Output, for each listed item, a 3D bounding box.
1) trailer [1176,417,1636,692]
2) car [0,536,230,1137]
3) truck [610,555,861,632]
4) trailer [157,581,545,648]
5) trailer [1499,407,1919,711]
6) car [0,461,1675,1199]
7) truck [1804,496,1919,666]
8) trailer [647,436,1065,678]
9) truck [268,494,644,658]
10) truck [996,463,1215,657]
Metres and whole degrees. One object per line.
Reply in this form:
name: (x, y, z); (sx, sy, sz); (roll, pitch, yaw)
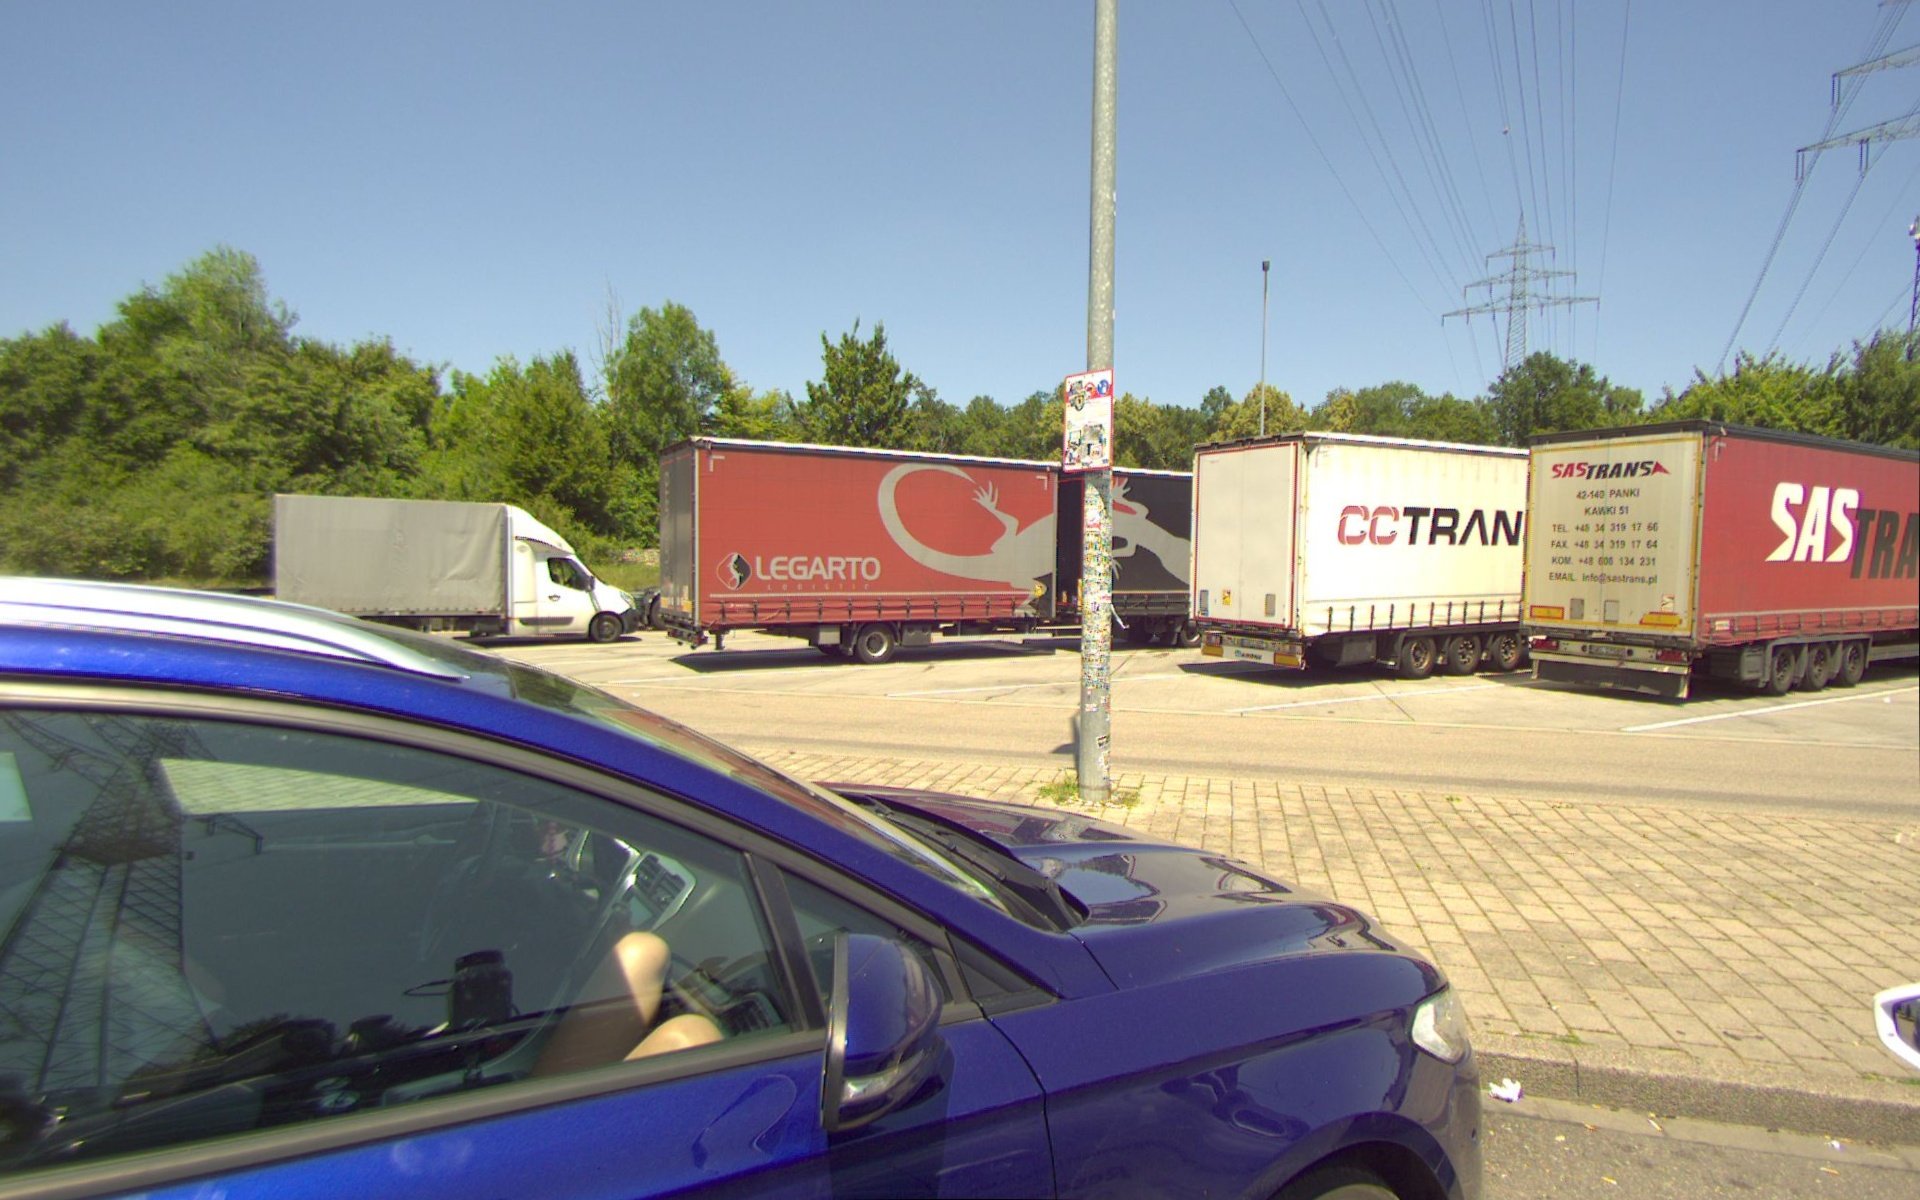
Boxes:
trailer: (8.871, -0.820, 19.322); (10.049, 4.267, 2.714); (-1, 3, -30)
car: (-4.549, 0.583, 2.249); (4.592, 1.554, 1.726); (0, 1, -33)
truck: (-6.477, -0.163, 29.521); (6.961, 2.040, 1.984); (0, 0, -30)
trailer: (-14.826, 0.259, 25.181); (7.996, 1.394, 2.211); (-1, 3, -30)
trailer: (15.410, -0.702, 18.557); (13.559, 4.189, 2.892); (-1, 3, -30)
car: (-0.976, 0.655, 1.465); (4.592, 1.502, 1.727); (0, 0, -33)
truck: (21.732, -0.430, 22.302); (5.418, 3.475, 2.838); (-1, 3, -30)
trailer: (-1.921, -0.830, 20.262); (7.996, 4.101, 2.696); (-1, 3, -30)
truck: (-11.198, -0.573, 22.898); (7.254, 3.254, 2.515); (-1, 3, -30)
truck: (3.361, -0.904, 23.356); (4.273, 4.072, 2.689); (-1, 3, -30)
